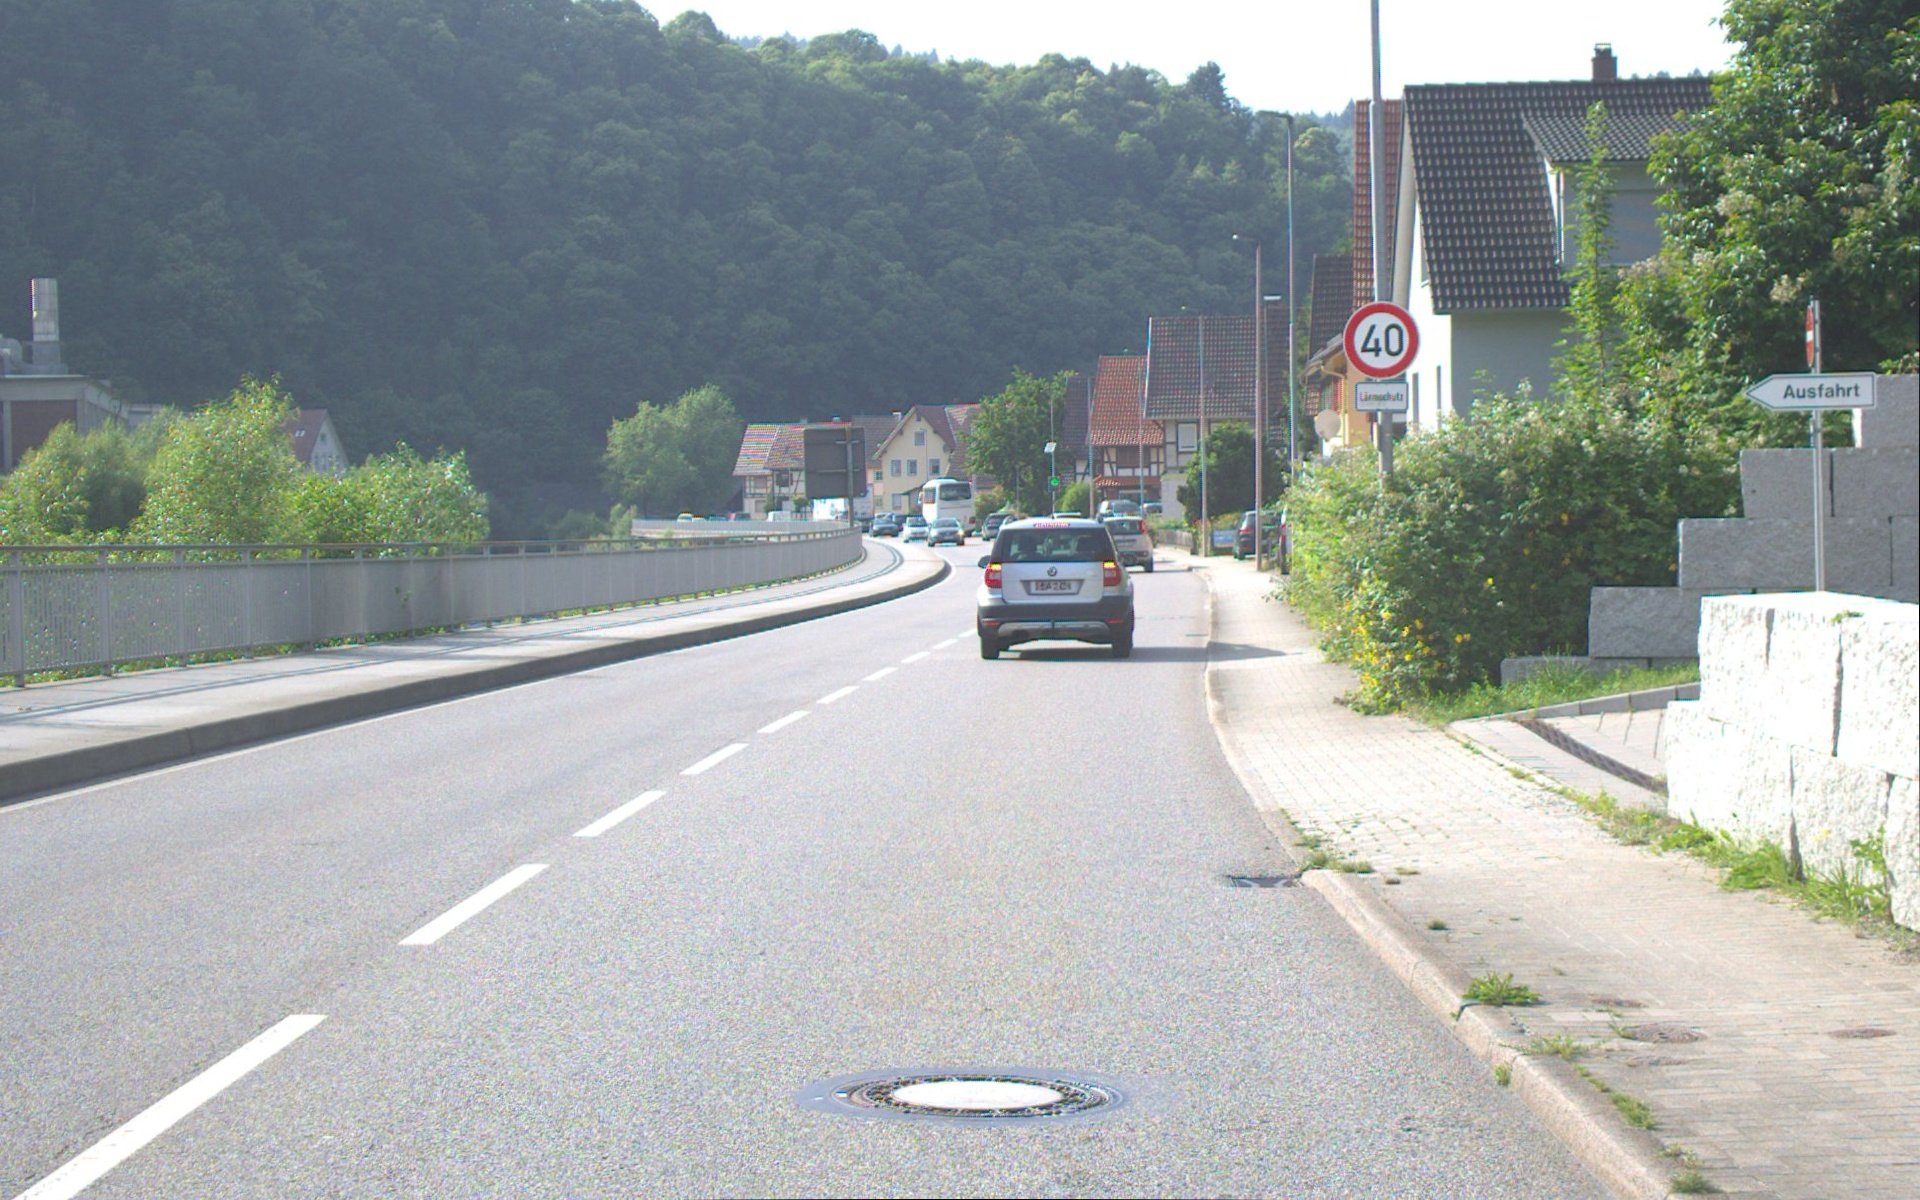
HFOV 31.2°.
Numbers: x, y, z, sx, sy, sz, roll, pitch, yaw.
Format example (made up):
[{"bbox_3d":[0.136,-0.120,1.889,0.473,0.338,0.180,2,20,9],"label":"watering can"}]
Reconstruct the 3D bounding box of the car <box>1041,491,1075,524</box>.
[{"bbox_3d":[4.048,-3.825,142.509,1.364,1.273,3.083,-1,0,1],"label":"car"}]

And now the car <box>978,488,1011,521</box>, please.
[{"bbox_3d":[1.921,-5.332,190.918,1.674,1.746,3.448,-1,2,4],"label":"car"}]

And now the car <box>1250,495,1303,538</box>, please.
[{"bbox_3d":[9.661,-2.534,104.736,1.545,1.212,3.277,-1,0,6],"label":"car"}]

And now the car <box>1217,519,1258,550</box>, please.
[{"bbox_3d":[9.090,-2.136,112.522,1.297,0.971,2.921,-1,1,5],"label":"car"}]

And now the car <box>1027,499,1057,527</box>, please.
[{"bbox_3d":[3.849,-4.111,162.403,1.364,1.273,3.083,-1,0,1],"label":"car"}]

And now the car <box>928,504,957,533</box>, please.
[{"bbox_3d":[-0.906,-4.205,176.743,1.433,1.379,3.135,-1,2,-2],"label":"car"}]

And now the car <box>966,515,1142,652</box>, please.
[{"bbox_3d":[1.182,-0.230,41.334,1.861,1.539,4.373,-1,1,5],"label":"car"}]

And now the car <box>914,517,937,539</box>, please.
[{"bbox_3d":[-2.079,-4.334,207.198,1.364,1.273,3.083,-1,0,0],"label":"car"}]

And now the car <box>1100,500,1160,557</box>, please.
[{"bbox_3d":[4.752,-1.976,96.147,1.622,1.536,3.278,-1,0,3],"label":"car"}]

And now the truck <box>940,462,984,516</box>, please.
[{"bbox_3d":[0.109,-7.191,222.483,2.729,3.363,6.479,-1,2,0],"label":"truck"}]

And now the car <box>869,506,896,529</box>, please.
[{"bbox_3d":[-5.467,-5.849,242.450,1.748,1.539,4.001,-1,2,-4],"label":"car"}]

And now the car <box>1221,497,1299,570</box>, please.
[{"bbox_3d":[7.021,-1.532,80.211,1.610,1.640,3.650,-1,0,8],"label":"car"}]
